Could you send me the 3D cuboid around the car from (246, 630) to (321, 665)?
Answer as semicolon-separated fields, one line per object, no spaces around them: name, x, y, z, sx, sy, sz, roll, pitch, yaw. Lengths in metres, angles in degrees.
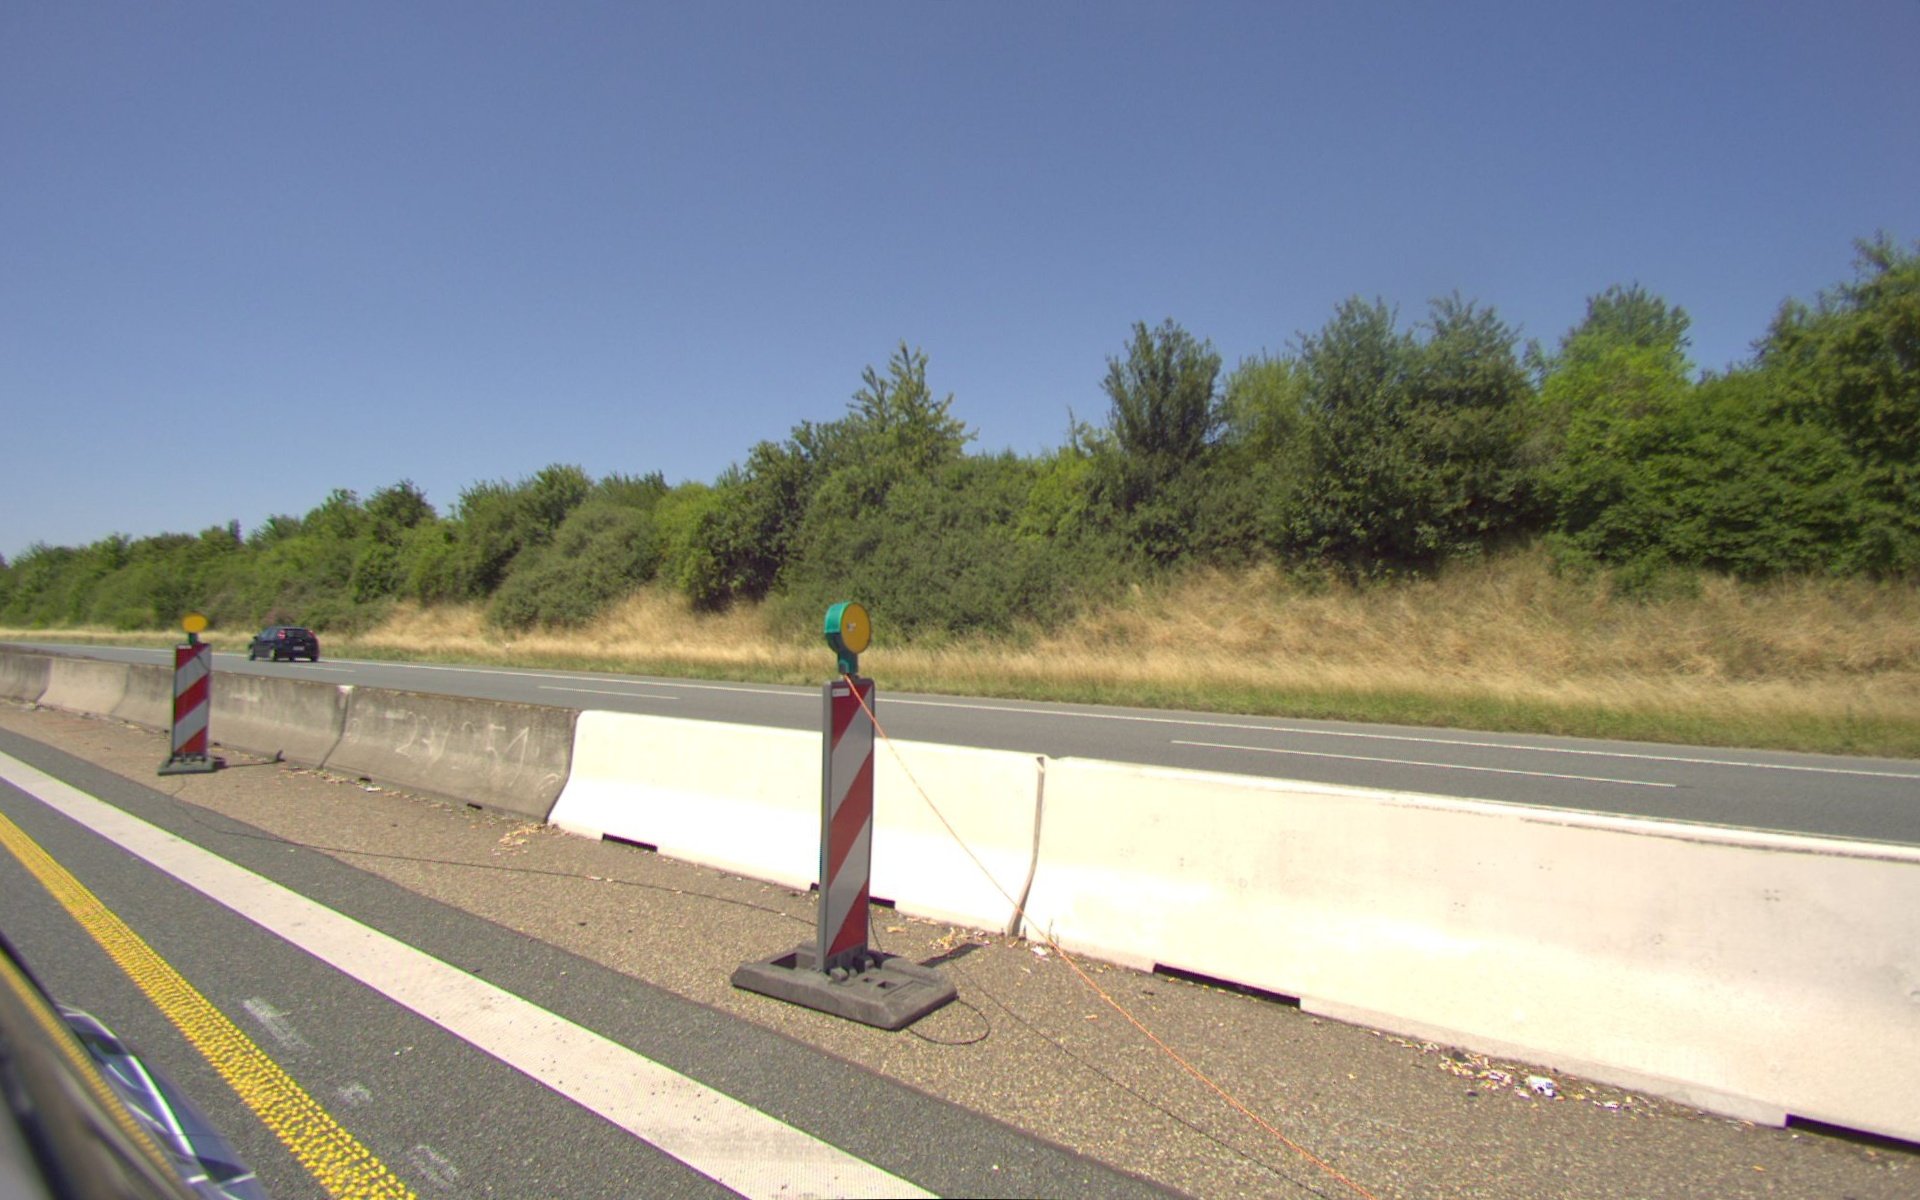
car;-28.270;1.971;42.256;3.512;1.364;1.748;-1;-3;41
